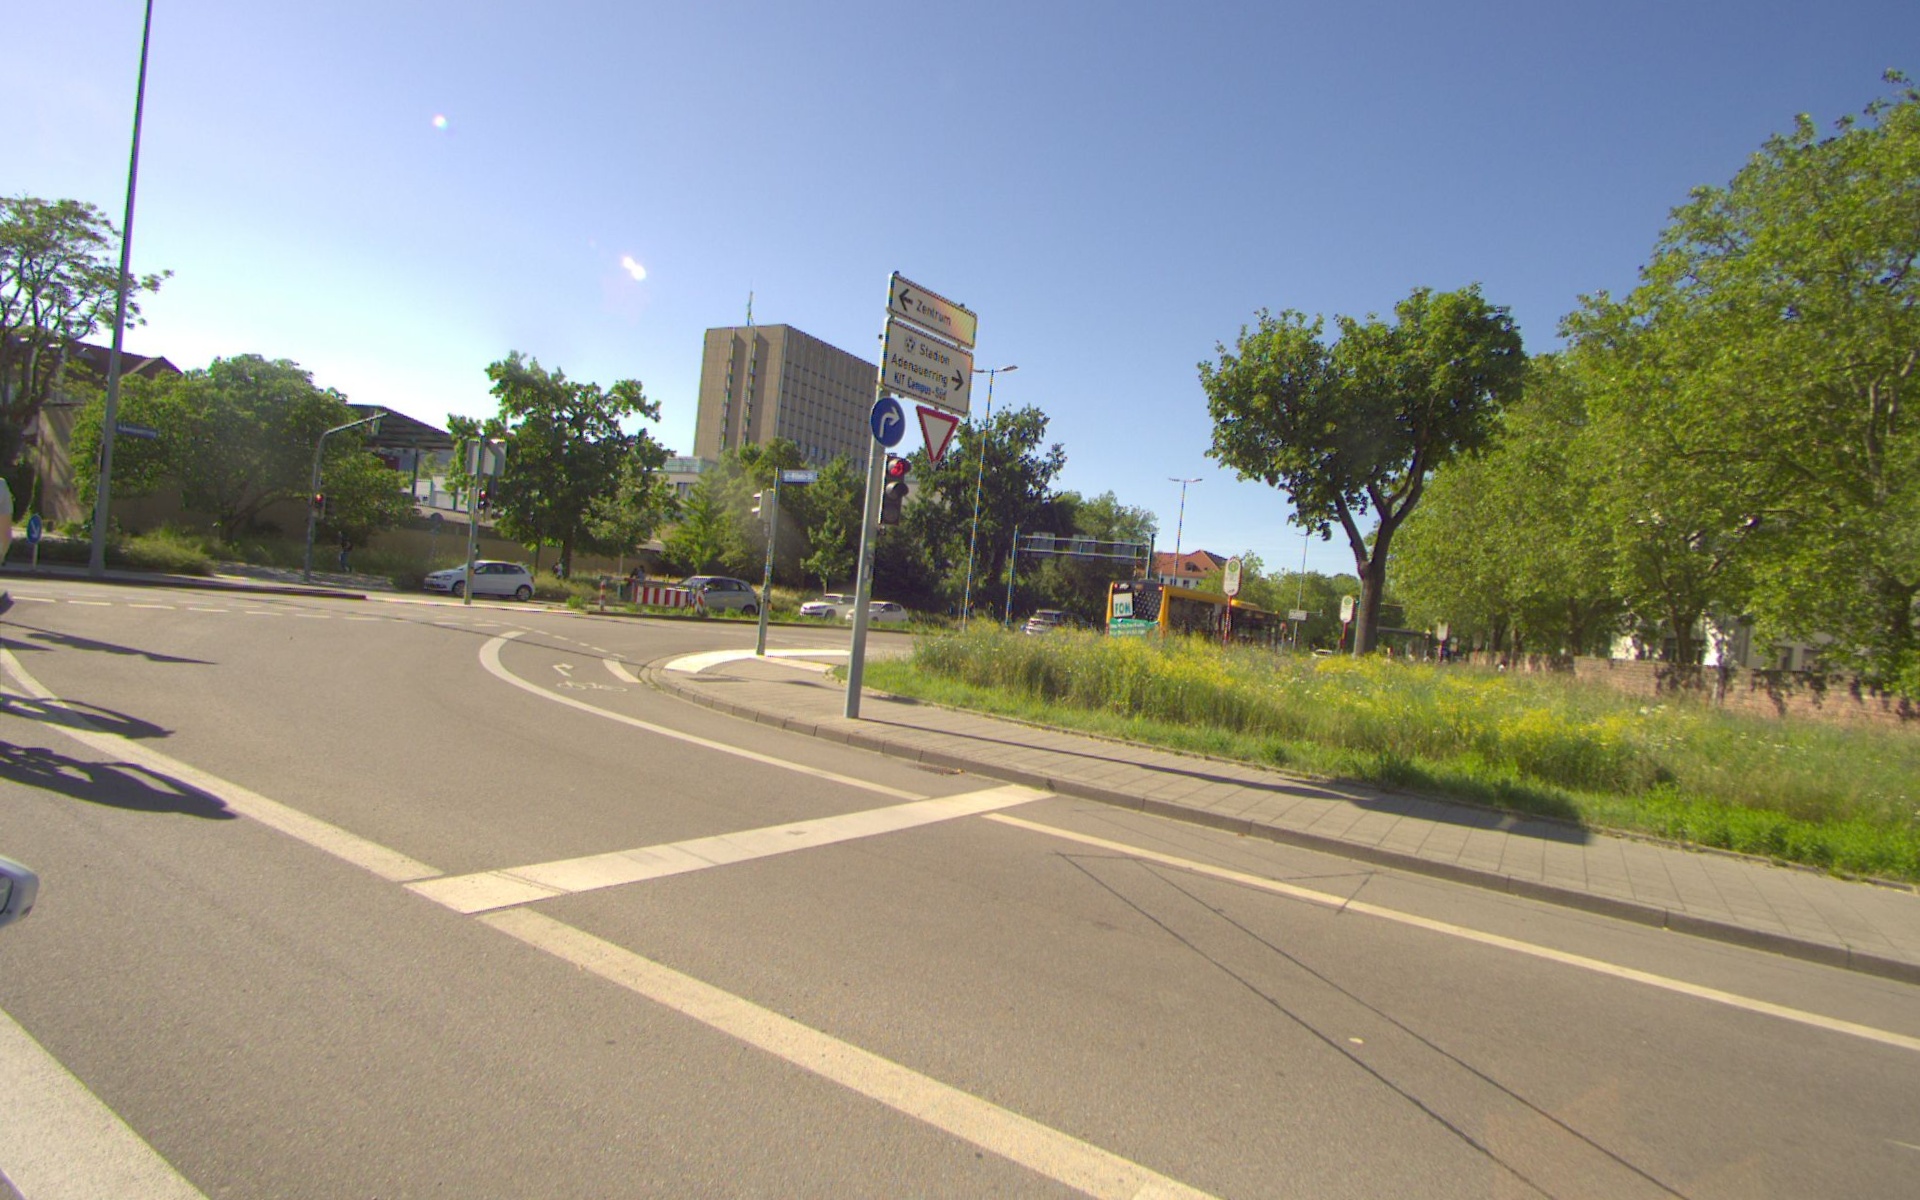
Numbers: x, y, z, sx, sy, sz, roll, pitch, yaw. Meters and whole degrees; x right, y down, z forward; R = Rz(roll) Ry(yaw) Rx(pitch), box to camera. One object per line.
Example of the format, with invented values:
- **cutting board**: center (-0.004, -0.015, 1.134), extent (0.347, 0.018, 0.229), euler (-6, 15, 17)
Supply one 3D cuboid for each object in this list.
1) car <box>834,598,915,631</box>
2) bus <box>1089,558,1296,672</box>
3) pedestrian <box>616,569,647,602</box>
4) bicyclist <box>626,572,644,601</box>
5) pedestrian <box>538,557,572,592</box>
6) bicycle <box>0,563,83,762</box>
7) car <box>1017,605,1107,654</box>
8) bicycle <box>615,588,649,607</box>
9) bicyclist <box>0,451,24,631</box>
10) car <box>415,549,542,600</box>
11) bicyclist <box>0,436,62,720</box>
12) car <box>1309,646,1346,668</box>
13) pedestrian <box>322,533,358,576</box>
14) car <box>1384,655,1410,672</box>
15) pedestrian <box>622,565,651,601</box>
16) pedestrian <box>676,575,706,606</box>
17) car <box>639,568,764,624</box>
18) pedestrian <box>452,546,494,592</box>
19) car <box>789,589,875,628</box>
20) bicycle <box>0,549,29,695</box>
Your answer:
- **car**: center (-4.468, 0.759, 52.876), extent (1.971, 1.378, 3.992), euler (5, -1, 38)
- **bus**: center (10.136, 0.871, 42.161), extent (3.201, 3.614, 12.416), euler (8, 0, 38)
- **pedestrian**: center (-16.885, -0.755, 51.726), extent (0.867, 1.540, 1.072), euler (7, 1, 43)
- **bicyclist**: center (-16.197, -0.685, 50.179), extent (0.568, 1.385, 0.520), euler (7, 1, 42)
- **pedestrian**: center (-19.507, -1.219, 48.466), extent (0.917, 1.540, 1.083), euler (7, 1, 41)
- **bicycle**: center (-6.241, 0.300, 6.133), extent (1.871, 1.064, 0.748), euler (6, 1, 31)
- **car**: center (4.904, 1.451, 47.884), extent (1.975, 1.884, 4.725), euler (7, 0, 37)
- **bicycle**: center (-16.335, -0.136, 50.120), extent (0.561, 0.787, 1.490), euler (7, 0, 42)
- **bicyclist**: center (-7.886, -0.401, 7.678), extent (1.063, 1.601, 0.675), euler (7, -1, 31)
- **car**: center (-18.350, -0.955, 38.493), extent (1.784, 1.509, 3.953), euler (4, -2, 37)
- **bicyclist**: center (-6.175, -0.171, 6.110), extent (0.851, 1.695, 0.741), euler (7, 1, 30)
- **car**: center (27.931, 4.350, 76.443), extent (1.731, 1.390, 3.990), euler (7, 0, 32)
- **pedestrian**: center (-25.565, -1.868, 41.479), extent (0.979, 1.625, 0.816), euler (6, 1, -45)
- **car**: center (44.206, 6.406, 101.649), extent (1.861, 1.419, 3.851), euler (4, -3, 32)
- **pedestrian**: center (-17.046, -0.898, 52.972), extent (0.912, 1.754, 0.962), euler (7, 1, 38)
- **pedestrian**: center (-14.916, -0.536, 55.818), extent (0.927, 1.540, 1.145), euler (7, 1, 38)
- **car**: center (-9.539, -0.117, 37.390), extent (1.882, 1.625, 4.124), euler (7, 0, 37)
- **pedestrian**: center (-21.863, -1.380, 45.189), extent (0.953, 1.879, 1.294), euler (7, 1, 43)
- **car**: center (-6.955, 0.495, 54.992), extent (1.969, 1.625, 4.503), euler (7, 0, 36)
- **bicycle**: center (-7.999, 0.062, 7.725), extent (1.813, 1.063, 0.672), euler (6, -1, 31)
